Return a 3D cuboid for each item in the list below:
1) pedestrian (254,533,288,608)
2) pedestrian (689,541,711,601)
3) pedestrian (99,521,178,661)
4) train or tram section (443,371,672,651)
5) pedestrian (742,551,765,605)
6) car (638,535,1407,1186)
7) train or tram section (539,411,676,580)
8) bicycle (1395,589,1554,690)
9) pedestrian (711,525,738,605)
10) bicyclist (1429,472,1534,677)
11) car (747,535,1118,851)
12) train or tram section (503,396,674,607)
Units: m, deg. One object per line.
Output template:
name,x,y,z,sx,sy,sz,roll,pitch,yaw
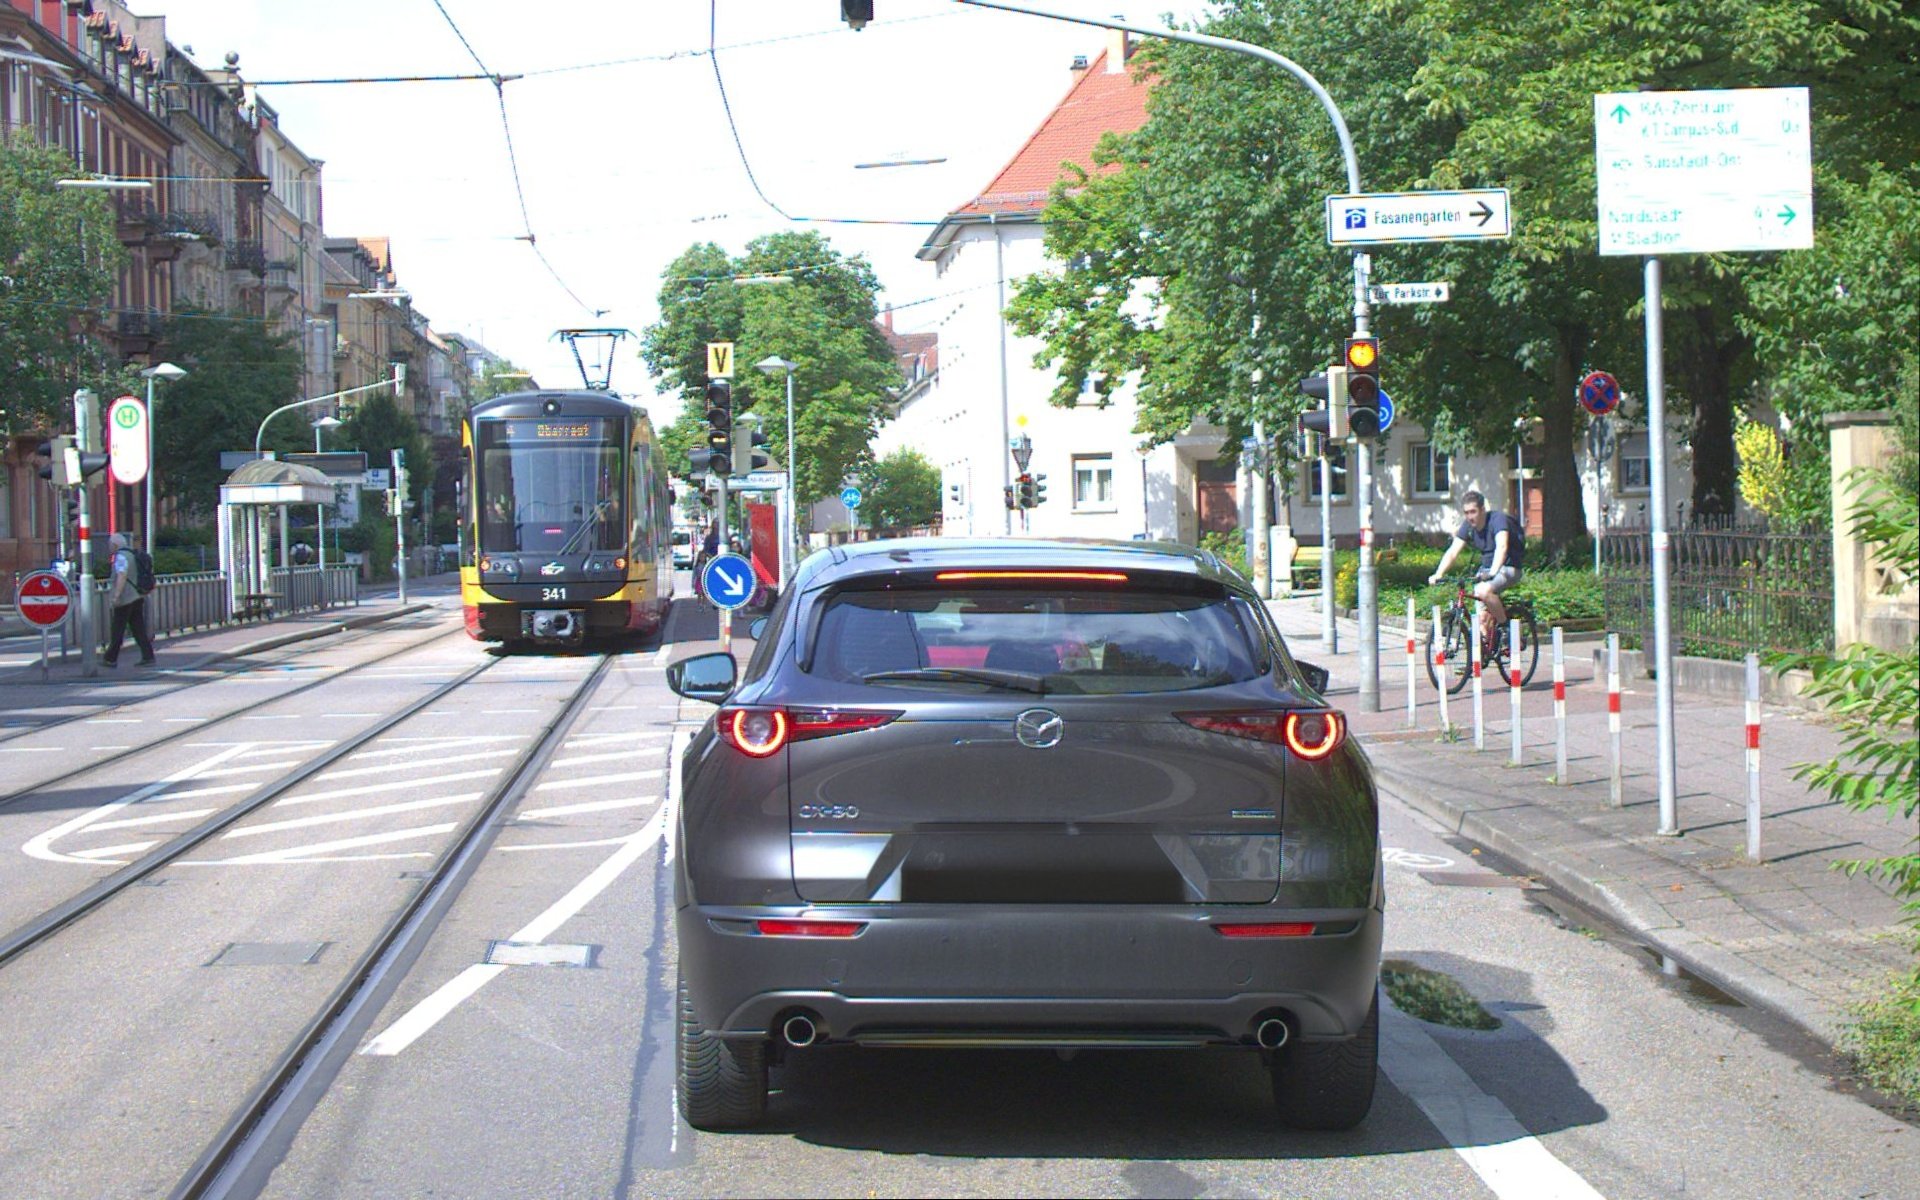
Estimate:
pedestrian,-12.915,-0.554,64.461,0.429,1.394,0.398,-1,1,30
pedestrian,-4.716,-0.526,62.330,0.379,1.067,0.474,-1,1,-4
pedestrian,-10.183,-0.120,42.636,0.717,1.699,0.824,-1,1,2
train or tram section,-5.677,-1.379,50.558,2.752,3.478,14.411,-1,2,-5
pedestrian,-3.796,-0.409,63.124,0.379,0.981,0.474,-1,1,-5
car,0.110,0.575,10.053,1.778,1.494,4.000,1,1,-1
train or tram section,-7.981,-2.446,79.257,2.752,3.478,14.411,-1,2,-5
bicycle,4.535,0.337,30.228,0.494,0.821,1.695,0,2,43
pedestrian,-4.285,-0.639,62.545,0.450,1.429,0.474,-1,1,-5
bicyclist,4.600,-0.229,30.299,0.657,1.786,0.608,0,1,43
car,-0.168,0.415,18.658,1.778,1.494,4.000,1,1,-1
train or tram section,-6.828,-1.912,64.902,2.752,3.478,14.411,-1,2,-5
